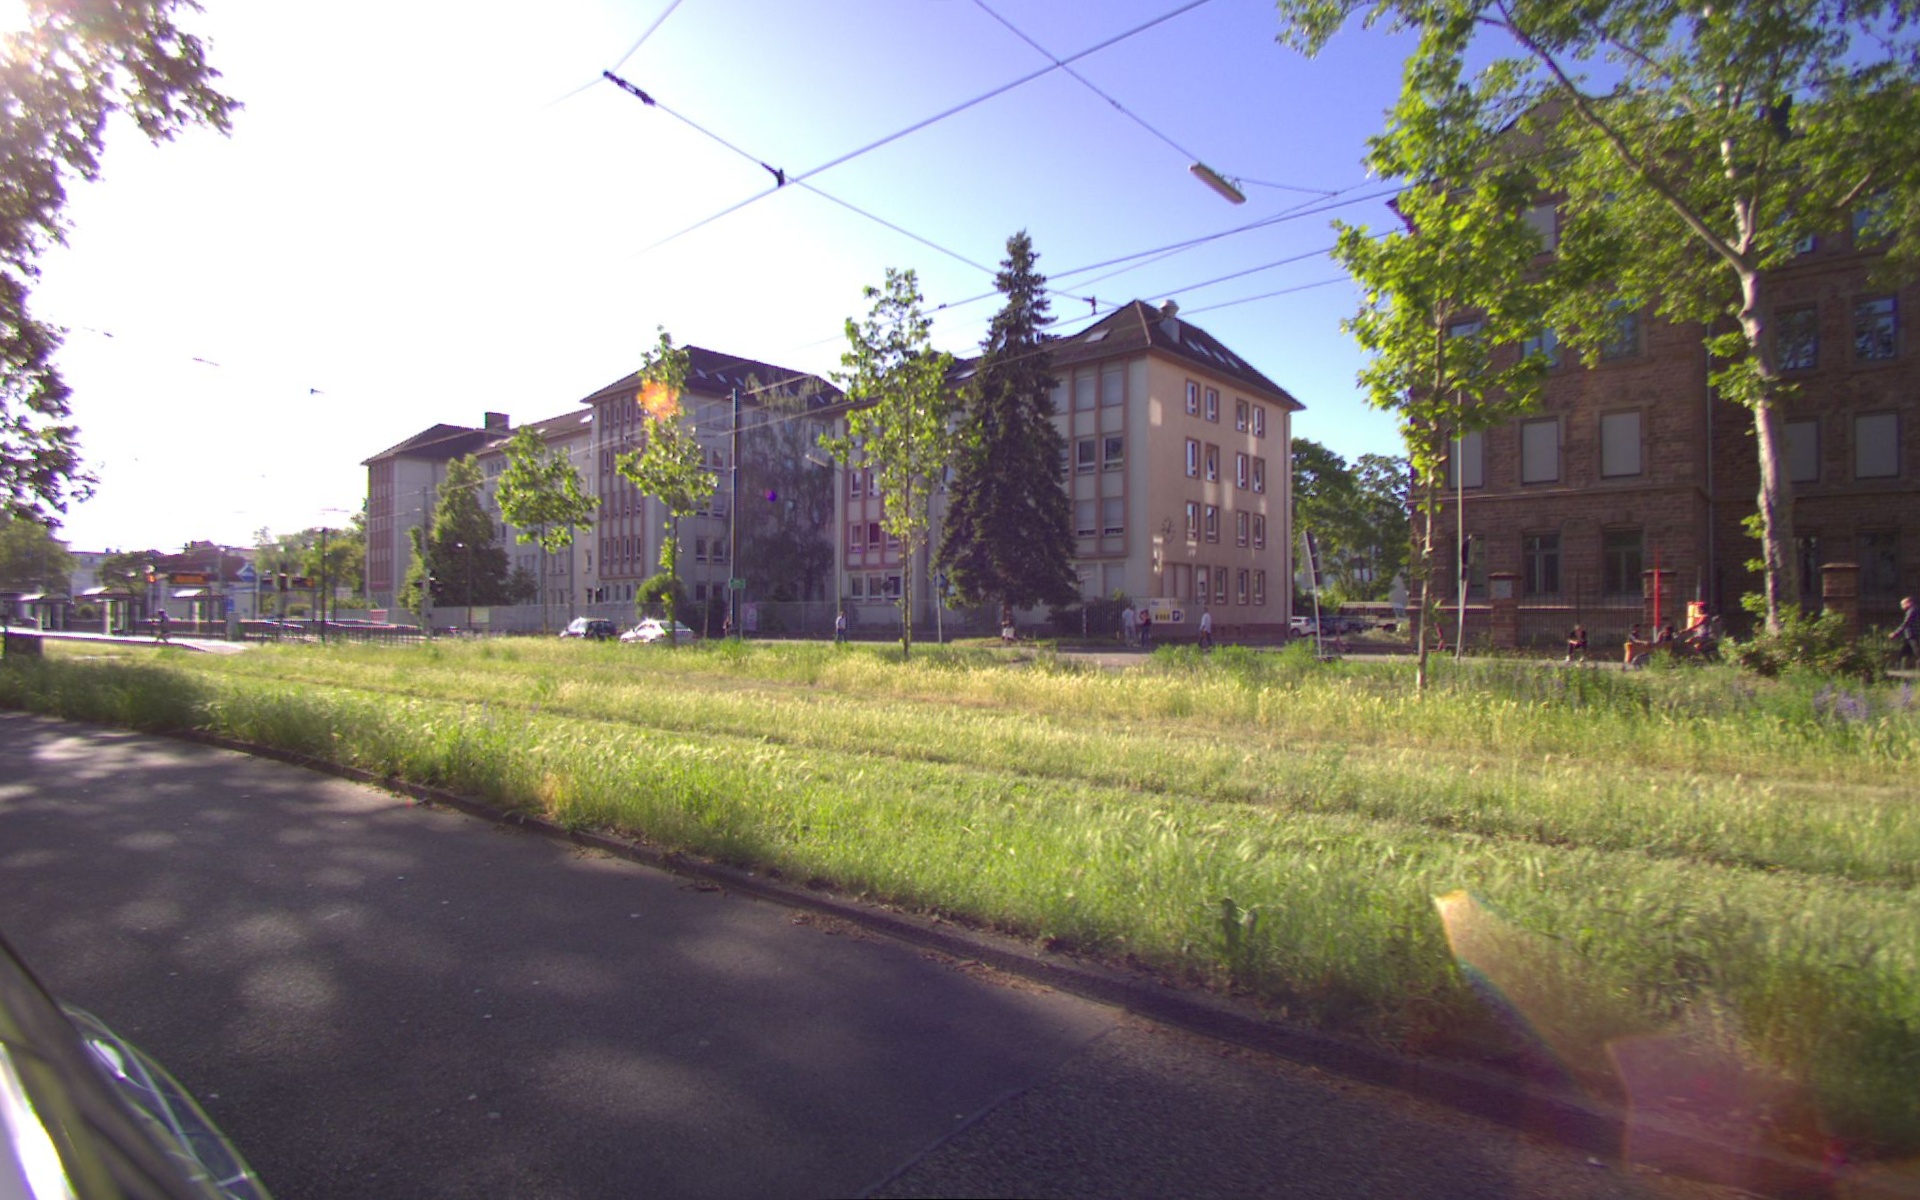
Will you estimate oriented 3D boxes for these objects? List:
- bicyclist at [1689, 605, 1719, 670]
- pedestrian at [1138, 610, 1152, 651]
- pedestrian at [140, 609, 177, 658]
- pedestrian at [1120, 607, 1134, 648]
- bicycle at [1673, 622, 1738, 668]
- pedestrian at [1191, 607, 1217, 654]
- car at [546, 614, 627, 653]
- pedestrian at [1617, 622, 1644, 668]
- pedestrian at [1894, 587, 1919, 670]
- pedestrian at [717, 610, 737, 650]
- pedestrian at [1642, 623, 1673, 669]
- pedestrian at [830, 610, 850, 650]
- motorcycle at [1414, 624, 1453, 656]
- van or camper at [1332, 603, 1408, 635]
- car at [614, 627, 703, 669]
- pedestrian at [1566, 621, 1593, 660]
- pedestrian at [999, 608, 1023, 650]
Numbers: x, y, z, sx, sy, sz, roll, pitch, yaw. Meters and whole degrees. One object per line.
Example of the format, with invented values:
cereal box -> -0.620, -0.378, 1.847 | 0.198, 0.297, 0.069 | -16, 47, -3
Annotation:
bicyclist -> 17.607, 0.884, 23.968 | 0.501, 1.510, 0.450 | -1, -2, 31
pedestrian -> 7.864, 1.286, 43.051 | 0.371, 1.708, 0.449 | 0, -2, -43
pedestrian -> -29.362, 1.225, 37.072 | 0.730, 1.749, 0.942 | -2, -2, 43
pedestrian -> 7.076, 1.153, 42.927 | 0.371, 1.708, 0.449 | 0, -2, -43
bicycle -> 17.628, 1.054, 23.951 | 1.172, 1.076, 0.458 | -1, -2, 32
pedestrian -> 8.924, 1.116, 36.995 | 0.875, 1.708, 0.679 | -1, -1, 13
car -> -17.384, 1.543, 47.049 | 4.151, 1.720, 1.971 | -1, -1, 45
pedestrian -> 16.484, 1.099, 24.883 | 0.478, 1.108, 0.580 | -2, -2, 39
pedestrian -> 22.451, 0.659, 23.574 | 0.942, 1.914, 0.891 | -2, -2, 42
pedestrian -> -12.114, 1.558, 52.560 | 0.860, 2.029, 0.656 | -1, -2, 40
pedestrian -> 16.869, 1.102, 24.467 | 0.586, 1.108, 0.439 | -1, -2, 36
pedestrian -> -5.593, 1.411, 47.188 | 0.572, 1.851, 0.685 | -1, -2, 40
motorcycle -> 14.611, 1.225, 31.260 | 1.043, 0.953, 0.331 | -1, -1, 38
van or camper -> 35.002, 1.649, 86.501 | 5.629, 2.663, 1.973 | -1, -1, 41
car -> -12.589, 1.948, 42.093 | 1.744, 1.635, 4.480 | 1, -1, -43
pedestrian -> 17.608, 1.146, 28.761 | 0.586, 1.108, 0.440 | -2, -2, 37
pedestrian -> 2.134, 1.207, 42.280 | 0.819, 1.708, 0.677 | -1, -1, 22
